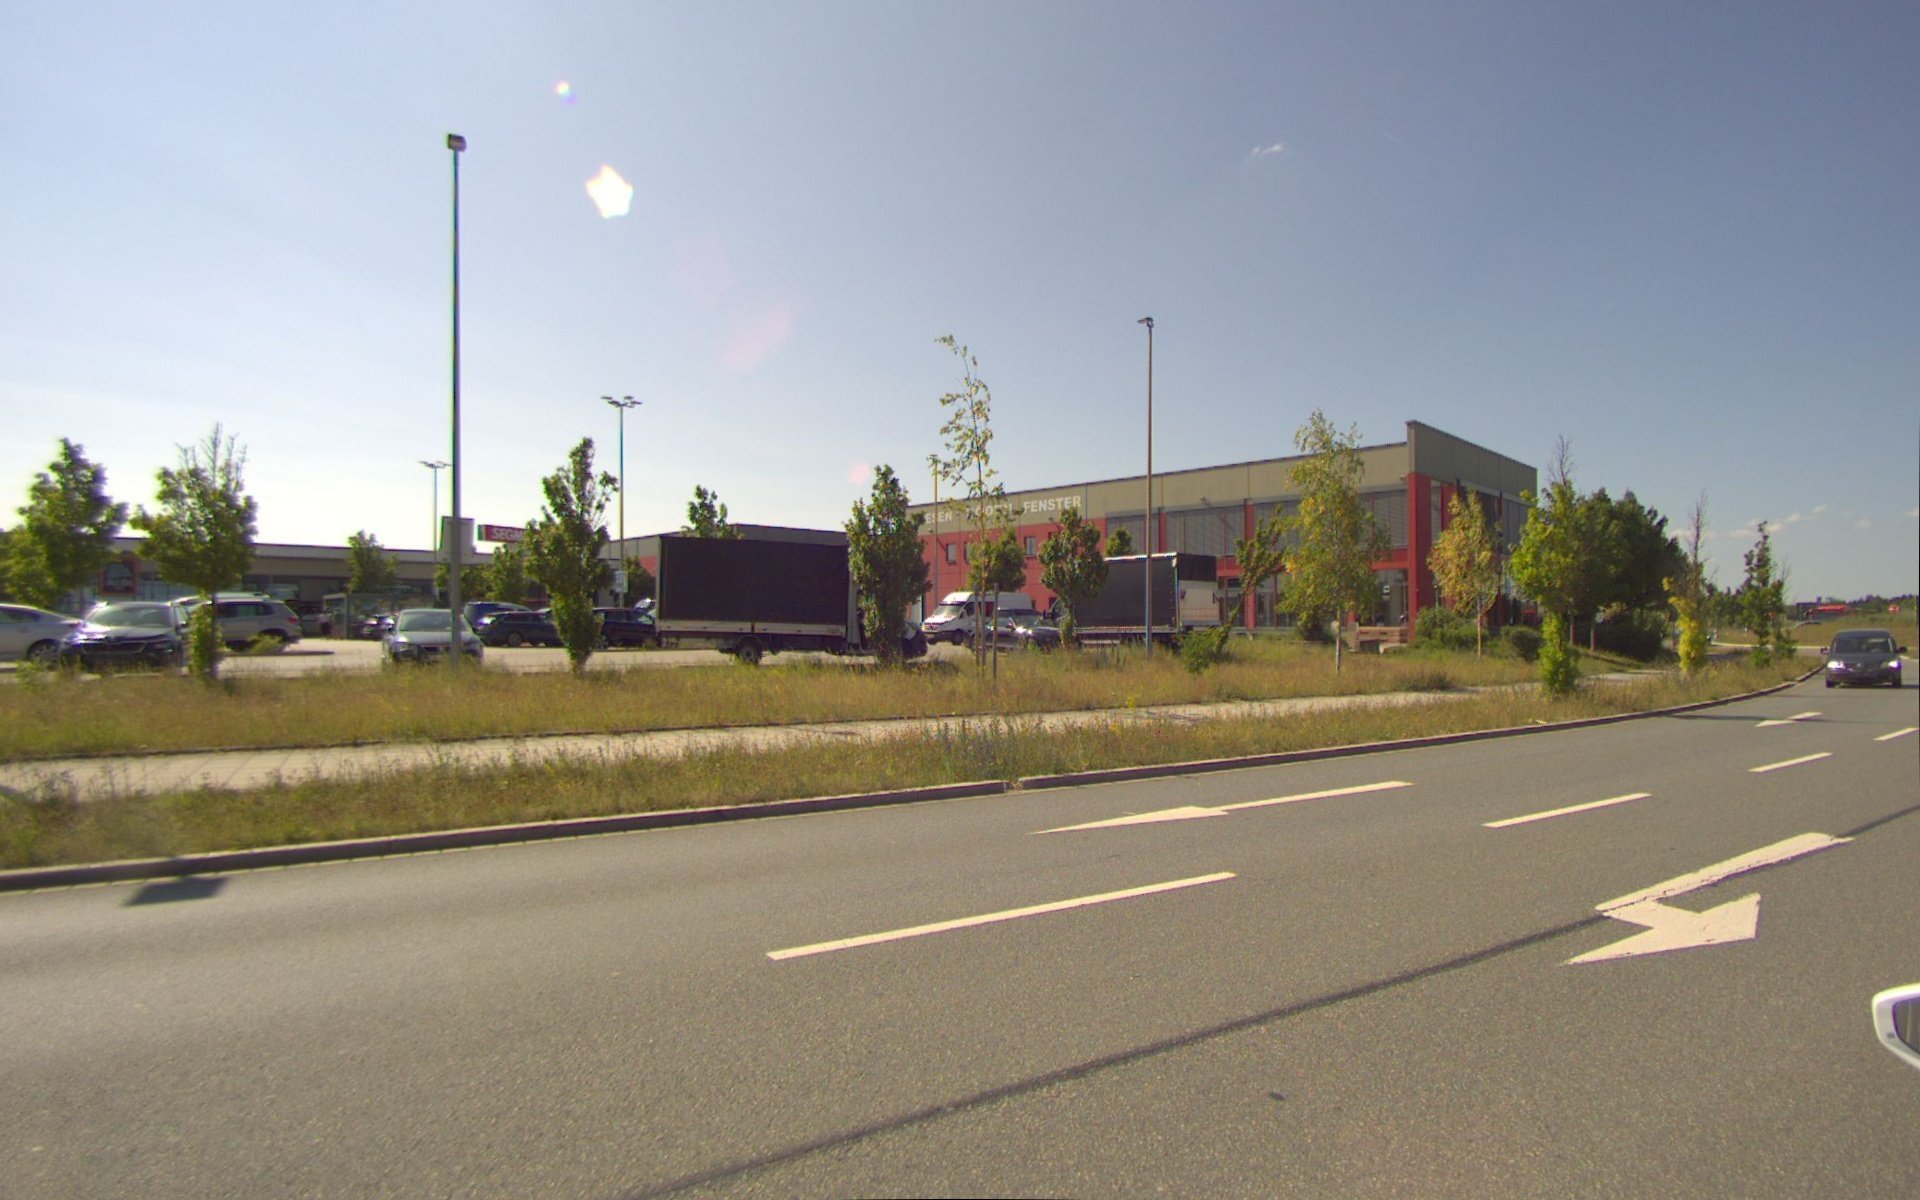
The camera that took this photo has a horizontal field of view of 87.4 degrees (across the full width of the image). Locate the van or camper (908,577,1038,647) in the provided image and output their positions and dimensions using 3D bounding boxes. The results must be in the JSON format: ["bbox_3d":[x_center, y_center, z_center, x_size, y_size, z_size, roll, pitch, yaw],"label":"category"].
[{"bbox_3d":[0.782,0.662,51.137,2.404,3.314,7.193,-1,-2,43],"label":"van or camper"}]

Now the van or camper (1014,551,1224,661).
[{"bbox_3d":[5.439,0.277,35.724,2.535,3.514,7.628,1,-2,-40],"label":"van or camper"}]

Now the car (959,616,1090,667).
[{"bbox_3d":[2.056,1.338,33.143,1.824,1.572,4.329,2,-2,-41],"label":"car"}]

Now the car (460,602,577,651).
[{"bbox_3d":[-19.265,1.163,43.936,1.813,2.021,4.354,-1,-2,45],"label":"car"}]

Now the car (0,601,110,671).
[{"bbox_3d":[-22.231,0.803,22.667,4.589,1.532,1.815,2,-2,-43],"label":"car"}]

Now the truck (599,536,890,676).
[{"bbox_3d":[-5.721,0.224,27.273,7.364,3.510,2.319,1,-1,-13],"label":"truck"}]

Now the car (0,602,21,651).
[{"bbox_3d":[-37.571,0.949,36.865,1.889,1.817,4.360,-1,-2,41],"label":"car"}]

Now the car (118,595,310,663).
[{"bbox_3d":[-22.057,0.864,29.827,1.813,1.847,4.354,-1,-2,45],"label":"car"}]

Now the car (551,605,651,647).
[{"bbox_3d":[-17.786,1.300,49.900,1.812,2.021,4.358,-1,-2,42],"label":"car"}]

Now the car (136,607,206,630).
[{"bbox_3d":[-64.703,1.556,82.413,1.892,1.814,4.354,-1,-2,45],"label":"car"}]

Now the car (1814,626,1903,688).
[{"bbox_3d":[28.406,1.759,31.801,1.930,1.818,4.403,-3,-3,42],"label":"car"}]

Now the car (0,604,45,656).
[{"bbox_3d":[-33.732,0.990,33.536,1.886,1.740,4.368,-1,-2,35],"label":"car"}]

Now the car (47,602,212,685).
[{"bbox_3d":[-16.586,0.829,20.305,1.816,1.477,4.554,1,-2,-30],"label":"car"}]

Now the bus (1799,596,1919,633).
[{"bbox_3d":[85.745,1.390,95.774,12.008,3.120,2.786,-1,-1,-18],"label":"bus"}]

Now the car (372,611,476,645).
[{"bbox_3d":[-27.184,1.430,51.019,1.813,1.654,4.354,-1,-2,45],"label":"car"}]

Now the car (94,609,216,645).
[{"bbox_3d":[-38.103,1.283,47.628,1.813,1.613,4.354,-1,-2,45],"label":"car"}]

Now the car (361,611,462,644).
[{"bbox_3d":[-28.989,1.463,53.163,1.813,1.644,4.354,-1,-2,45],"label":"car"}]

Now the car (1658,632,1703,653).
[{"bbox_3d":[57.108,3.406,79.660,1.730,1.563,4.241,-2,-3,20],"label":"car"}]

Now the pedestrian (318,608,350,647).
[{"bbox_3d":[-33.729,1.466,54.089,1.078,2.075,1.243,-1,-2,45],"label":"pedestrian"}]

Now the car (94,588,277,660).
[{"bbox_3d":[-24.289,0.771,31.616,1.813,2.092,4.354,-1,-2,45],"label":"car"}]

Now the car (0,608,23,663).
[{"bbox_3d":[-28.476,0.963,27.286,1.813,1.532,4.354,-1,-2,45],"label":"car"}]

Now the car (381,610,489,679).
[{"bbox_3d":[-11.860,0.955,22.553,1.952,1.402,4.402,1,-2,-30],"label":"car"}]

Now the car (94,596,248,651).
[{"bbox_3d":[-31.248,0.959,39.881,1.813,2.051,4.604,-1,-2,45],"label":"car"}]

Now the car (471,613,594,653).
[{"bbox_3d":[-17.764,1.350,41.849,1.812,1.583,4.358,-1,-2,42],"label":"car"}]
